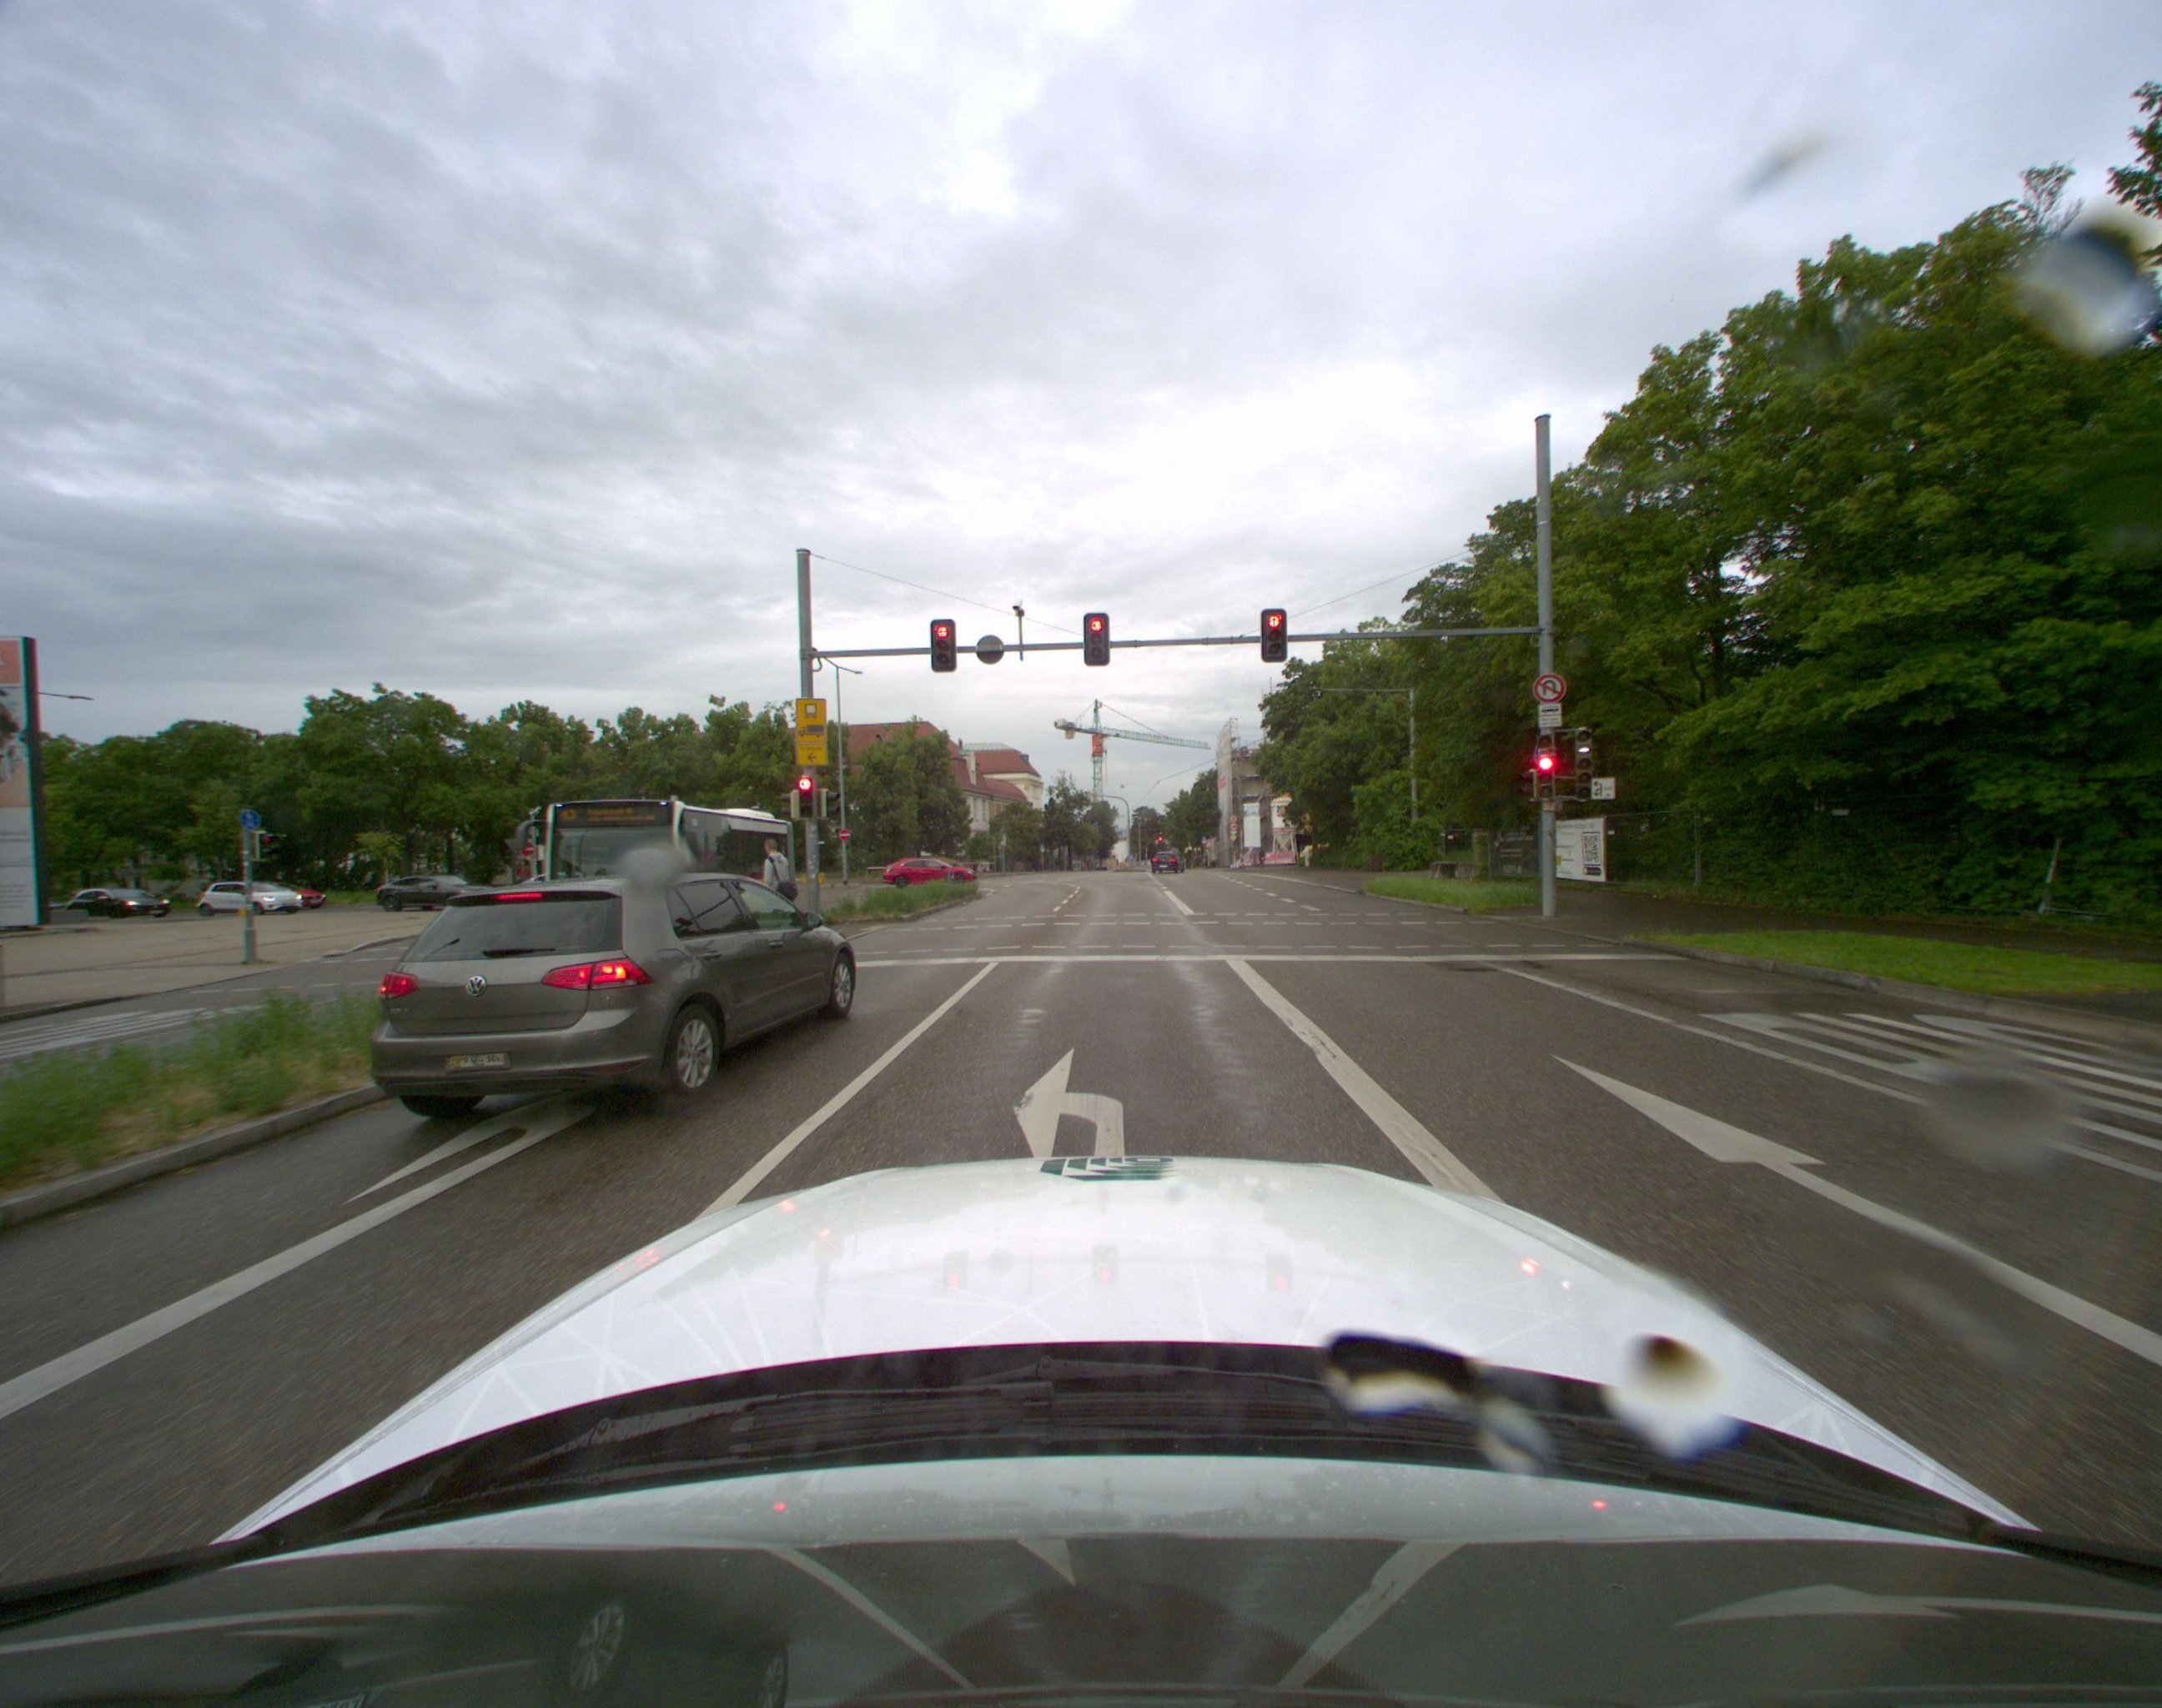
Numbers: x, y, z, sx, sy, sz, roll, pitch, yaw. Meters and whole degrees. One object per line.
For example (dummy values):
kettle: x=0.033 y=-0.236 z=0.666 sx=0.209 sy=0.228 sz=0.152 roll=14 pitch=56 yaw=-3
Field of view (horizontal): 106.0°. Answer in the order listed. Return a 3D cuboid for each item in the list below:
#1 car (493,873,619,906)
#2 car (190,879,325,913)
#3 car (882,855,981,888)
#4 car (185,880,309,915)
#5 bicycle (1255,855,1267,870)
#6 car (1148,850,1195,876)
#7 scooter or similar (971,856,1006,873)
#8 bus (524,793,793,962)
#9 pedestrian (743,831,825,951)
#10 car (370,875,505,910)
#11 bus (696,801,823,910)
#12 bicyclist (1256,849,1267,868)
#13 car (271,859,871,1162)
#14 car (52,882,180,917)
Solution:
car: x=-25.251 y=1.682 z=39.268 sx=4.845 sy=1.425 sz=1.846 roll=-1 pitch=0 yaw=1
car: x=-40.171 y=2.031 z=39.807 sx=4.512 sy=1.425 sz=2.000 roll=-1 pitch=0 yaw=-1
car: x=-7.244 y=0.814 z=39.319 sx=4.514 sy=1.425 sz=1.989 roll=-1 pitch=0 yaw=-16
car: x=-37.987 y=1.960 z=37.163 sx=3.759 sy=1.425 sz=1.846 roll=-1 pitch=0 yaw=1
bicycle: x=14.763 y=0.675 z=66.727 sx=0.717 sy=1.193 sz=1.758 roll=0 pitch=-2 yaw=5
car: x=6.221 y=0.659 z=55.593 sx=1.975 sy=1.706 sz=4.022 roll=-1 pitch=-2 yaw=25
scooter or similar: x=-8.478 y=0.941 z=74.697 sx=3.077 sy=1.440 sz=0.949 roll=-2 pitch=0 yaw=1
bus: x=-9.679 y=0.430 z=20.275 sx=2.887 sy=3.103 sz=9.726 roll=-2 pitch=0 yaw=-9
pedestrian: x=-5.281 y=0.644 z=14.517 sx=0.935 sy=2.013 sz=0.849 roll=-4 pitch=0 yaw=8
car: x=-28.715 y=1.705 z=36.420 sx=4.430 sy=1.425 sz=2.001 roll=-1 pitch=0 yaw=1
bus: x=-11.279 y=0.034 z=29.475 sx=2.891 sy=3.307 sz=8.538 roll=-2 pitch=0 yaw=-13
bicyclist: x=14.773 y=0.385 z=66.686 sx=0.717 sy=1.564 sz=1.144 roll=0 pitch=-2 yaw=4
car: x=-3.179 y=0.824 z=6.297 sx=1.798 sy=1.429 sz=4.199 roll=-3 pitch=0 yaw=2
car: x=-44.758 y=2.096 z=37.826 sx=3.759 sy=1.425 sz=1.846 roll=-1 pitch=0 yaw=1
